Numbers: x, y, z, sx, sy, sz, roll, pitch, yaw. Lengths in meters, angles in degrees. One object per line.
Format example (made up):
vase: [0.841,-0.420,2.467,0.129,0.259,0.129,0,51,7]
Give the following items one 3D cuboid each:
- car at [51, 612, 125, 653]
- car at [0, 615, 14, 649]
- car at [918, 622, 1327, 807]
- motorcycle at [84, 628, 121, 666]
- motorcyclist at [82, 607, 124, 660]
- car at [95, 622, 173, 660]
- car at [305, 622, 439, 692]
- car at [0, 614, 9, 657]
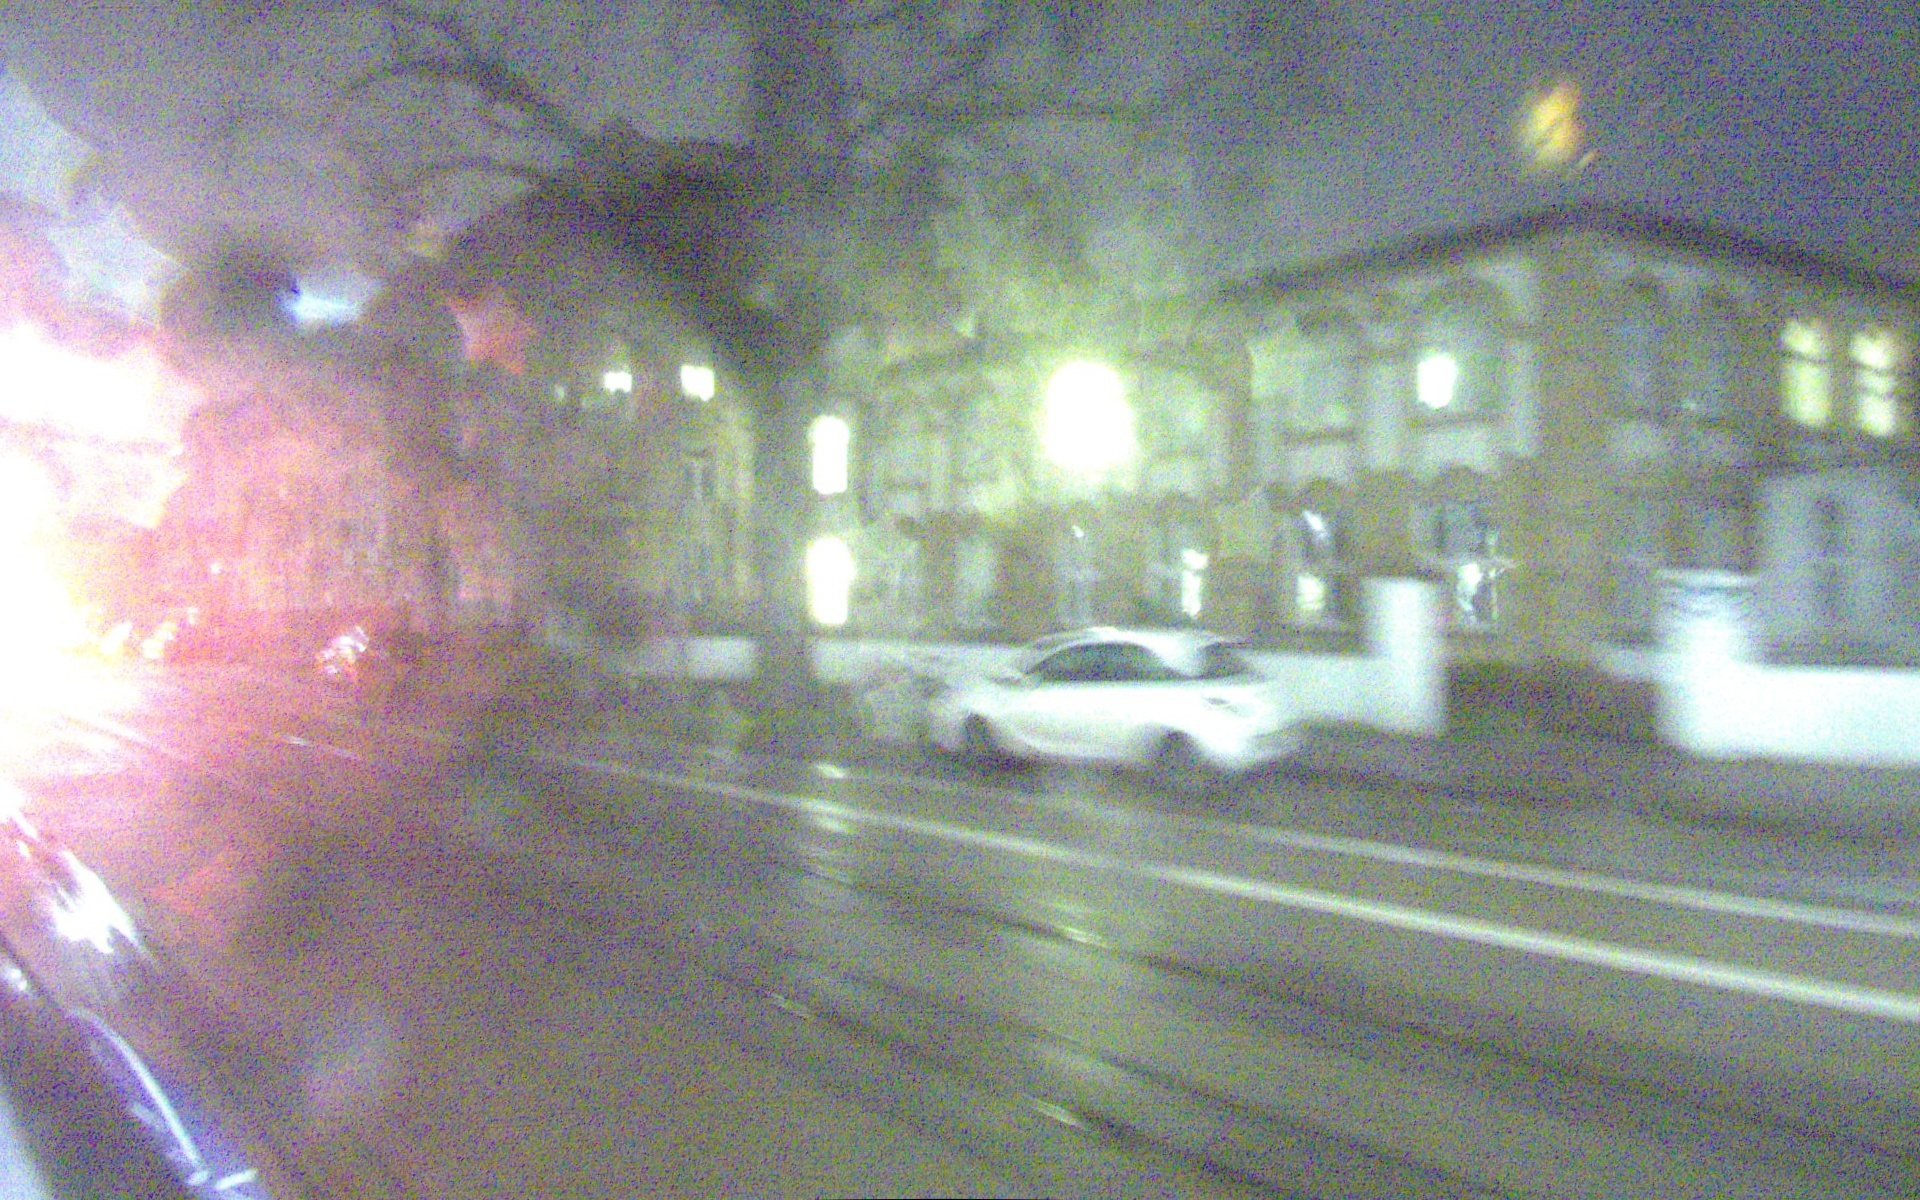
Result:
car: [-43.579,1.632,50.539,5.306,1.839,1.973,-2,1,41]
car: [-55.166,1.831,57.582,1.903,1.894,4.641,3,-3,-43]
car: [1.518,0.983,10.210,3.805,1.439,1.593,0,1,40]
motorcycle: [-30.151,1.642,35.562,0.807,1.239,2.003,7,-5,-43]
motorcyclist: [-30.163,1.177,35.613,0.907,1.753,1.137,7,-5,-43]
car: [-34.961,1.693,42.803,4.137,1.417,1.748,-1,1,40]
car: [-14.235,1.312,24.406,4.000,1.397,1.650,0,2,42]
car: [-43.816,1.563,44.948,4.384,1.830,1.917,-2,-3,42]
